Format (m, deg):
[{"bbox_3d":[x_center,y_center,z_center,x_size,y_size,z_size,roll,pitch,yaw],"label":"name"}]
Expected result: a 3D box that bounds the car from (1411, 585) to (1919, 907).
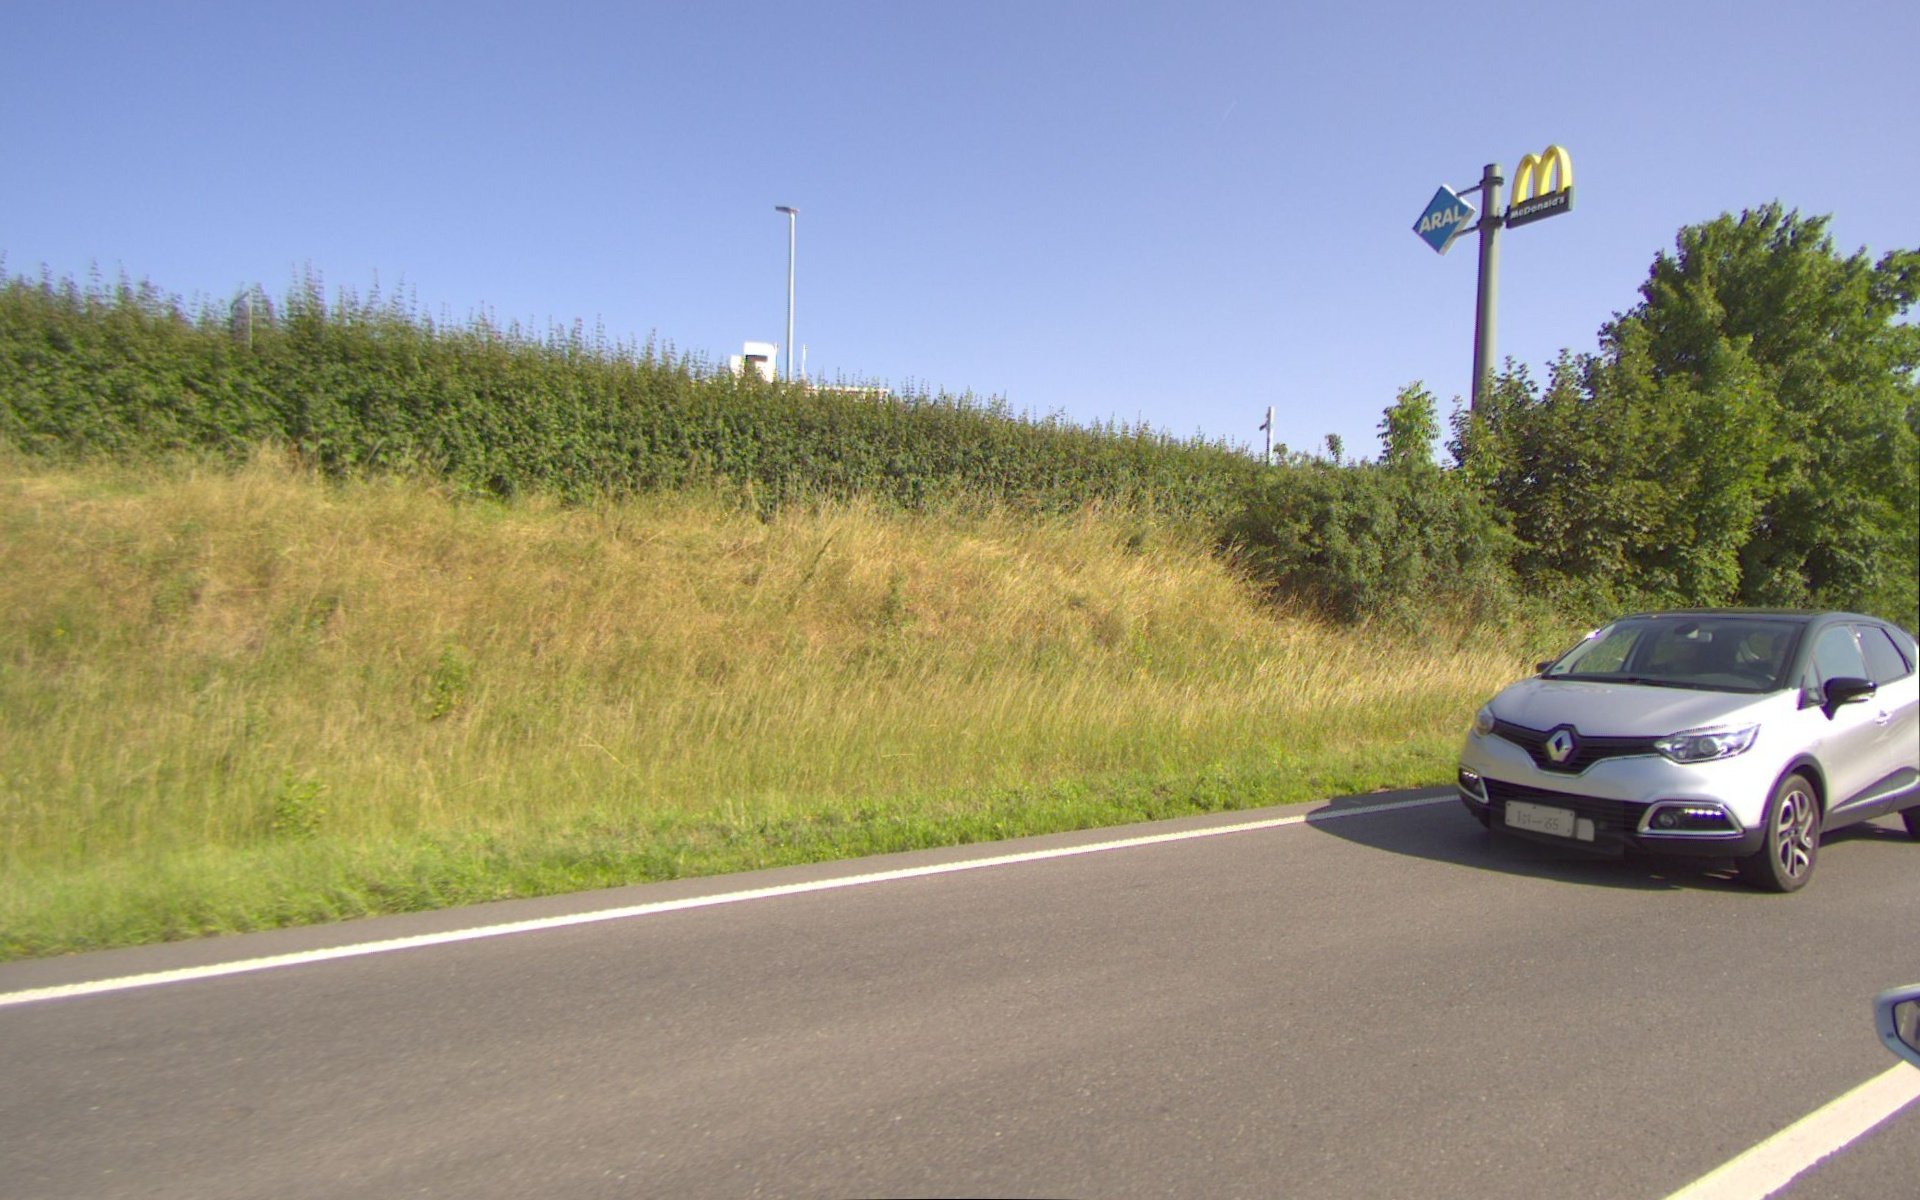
[{"bbox_3d":[5.100,0.779,6.854,3.956,1.614,1.786,2,0,-32],"label":"car"}]
